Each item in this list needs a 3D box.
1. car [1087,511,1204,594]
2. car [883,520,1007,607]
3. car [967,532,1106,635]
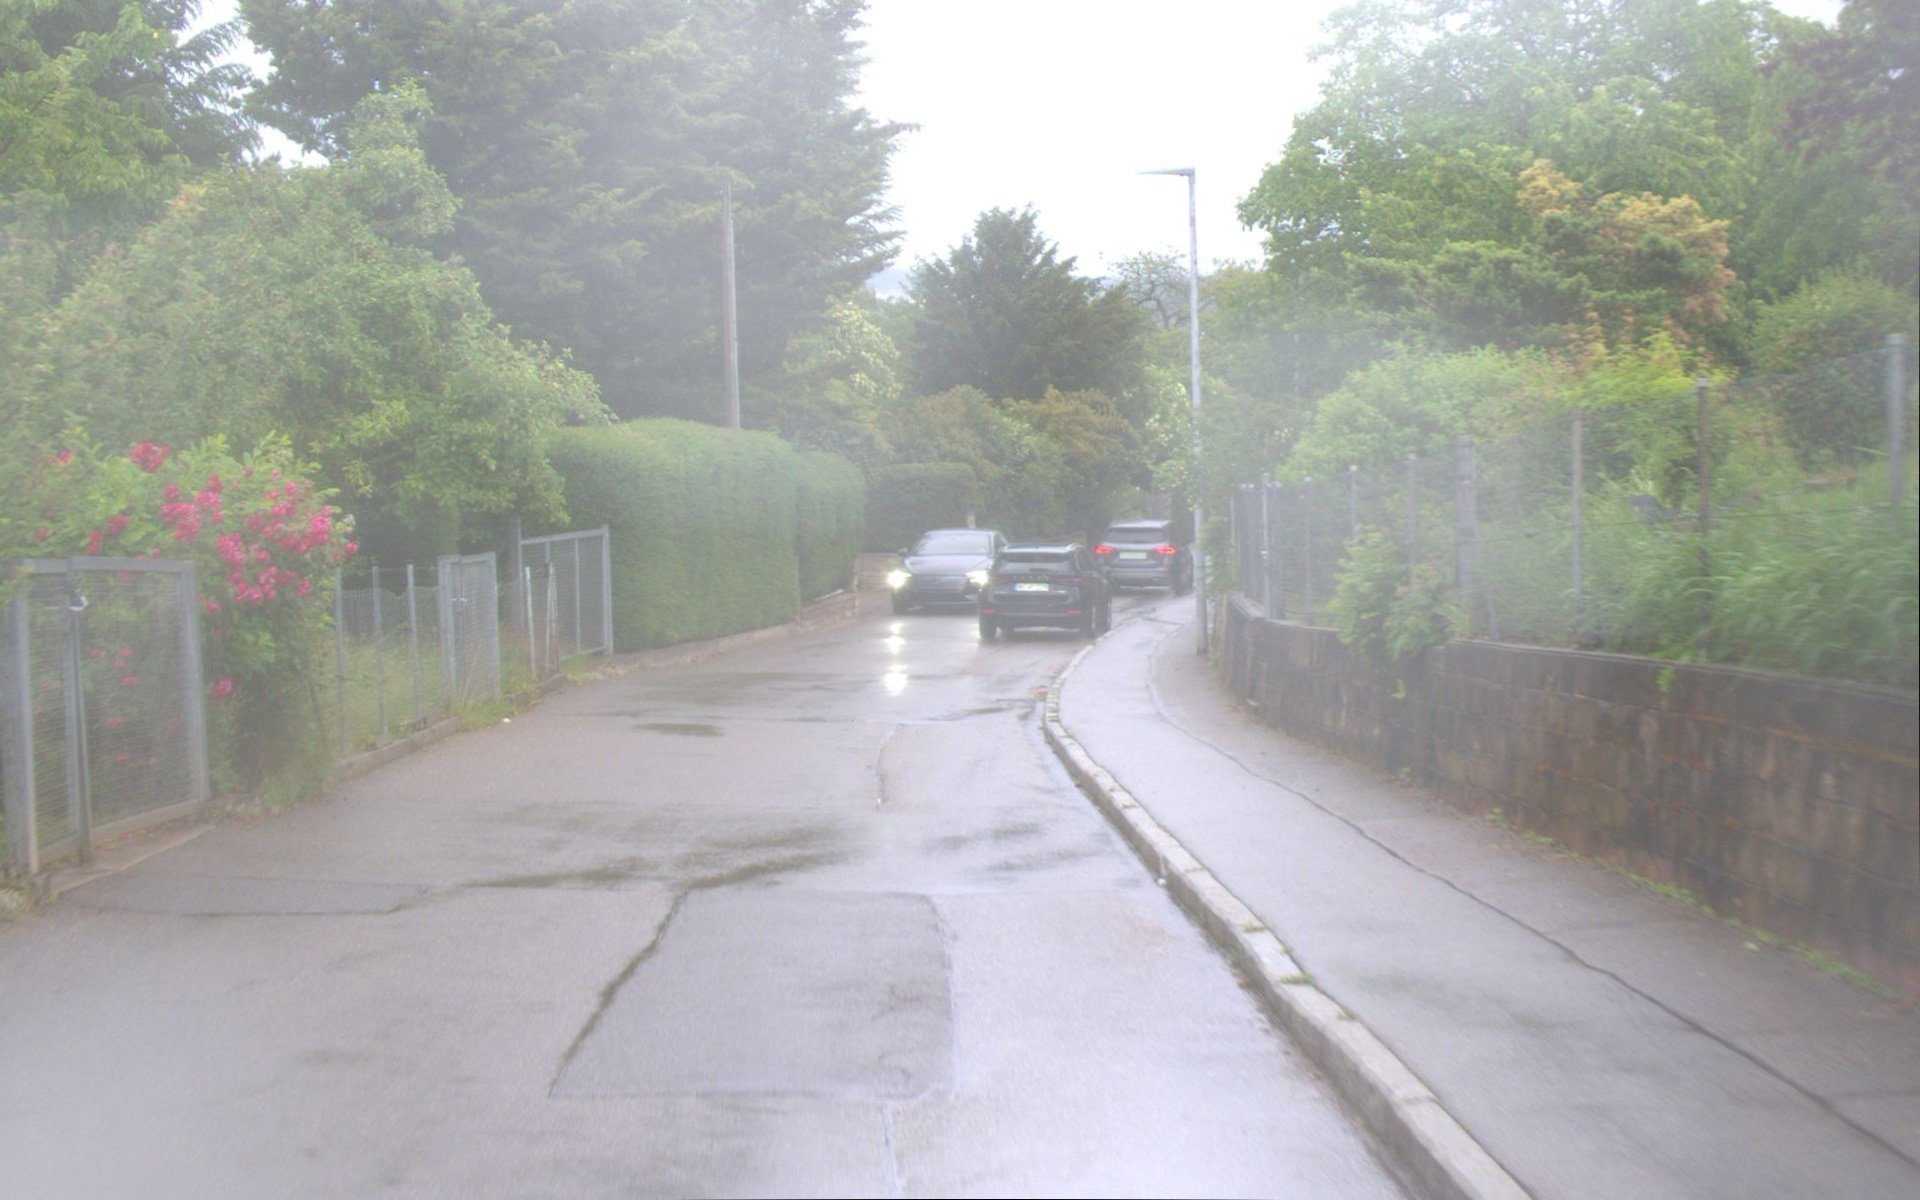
[{"bbox_3d":[3.877,-1.005,71.437,1.679,1.559,3.792,2,3,14],"label":"car"},{"bbox_3d":[-0.249,-0.697,63.020,1.780,1.489,3.830,1,2,7],"label":"car"},{"bbox_3d":[1.228,-0.276,53.167,1.835,1.459,3.999,3,1,5],"label":"car"}]
